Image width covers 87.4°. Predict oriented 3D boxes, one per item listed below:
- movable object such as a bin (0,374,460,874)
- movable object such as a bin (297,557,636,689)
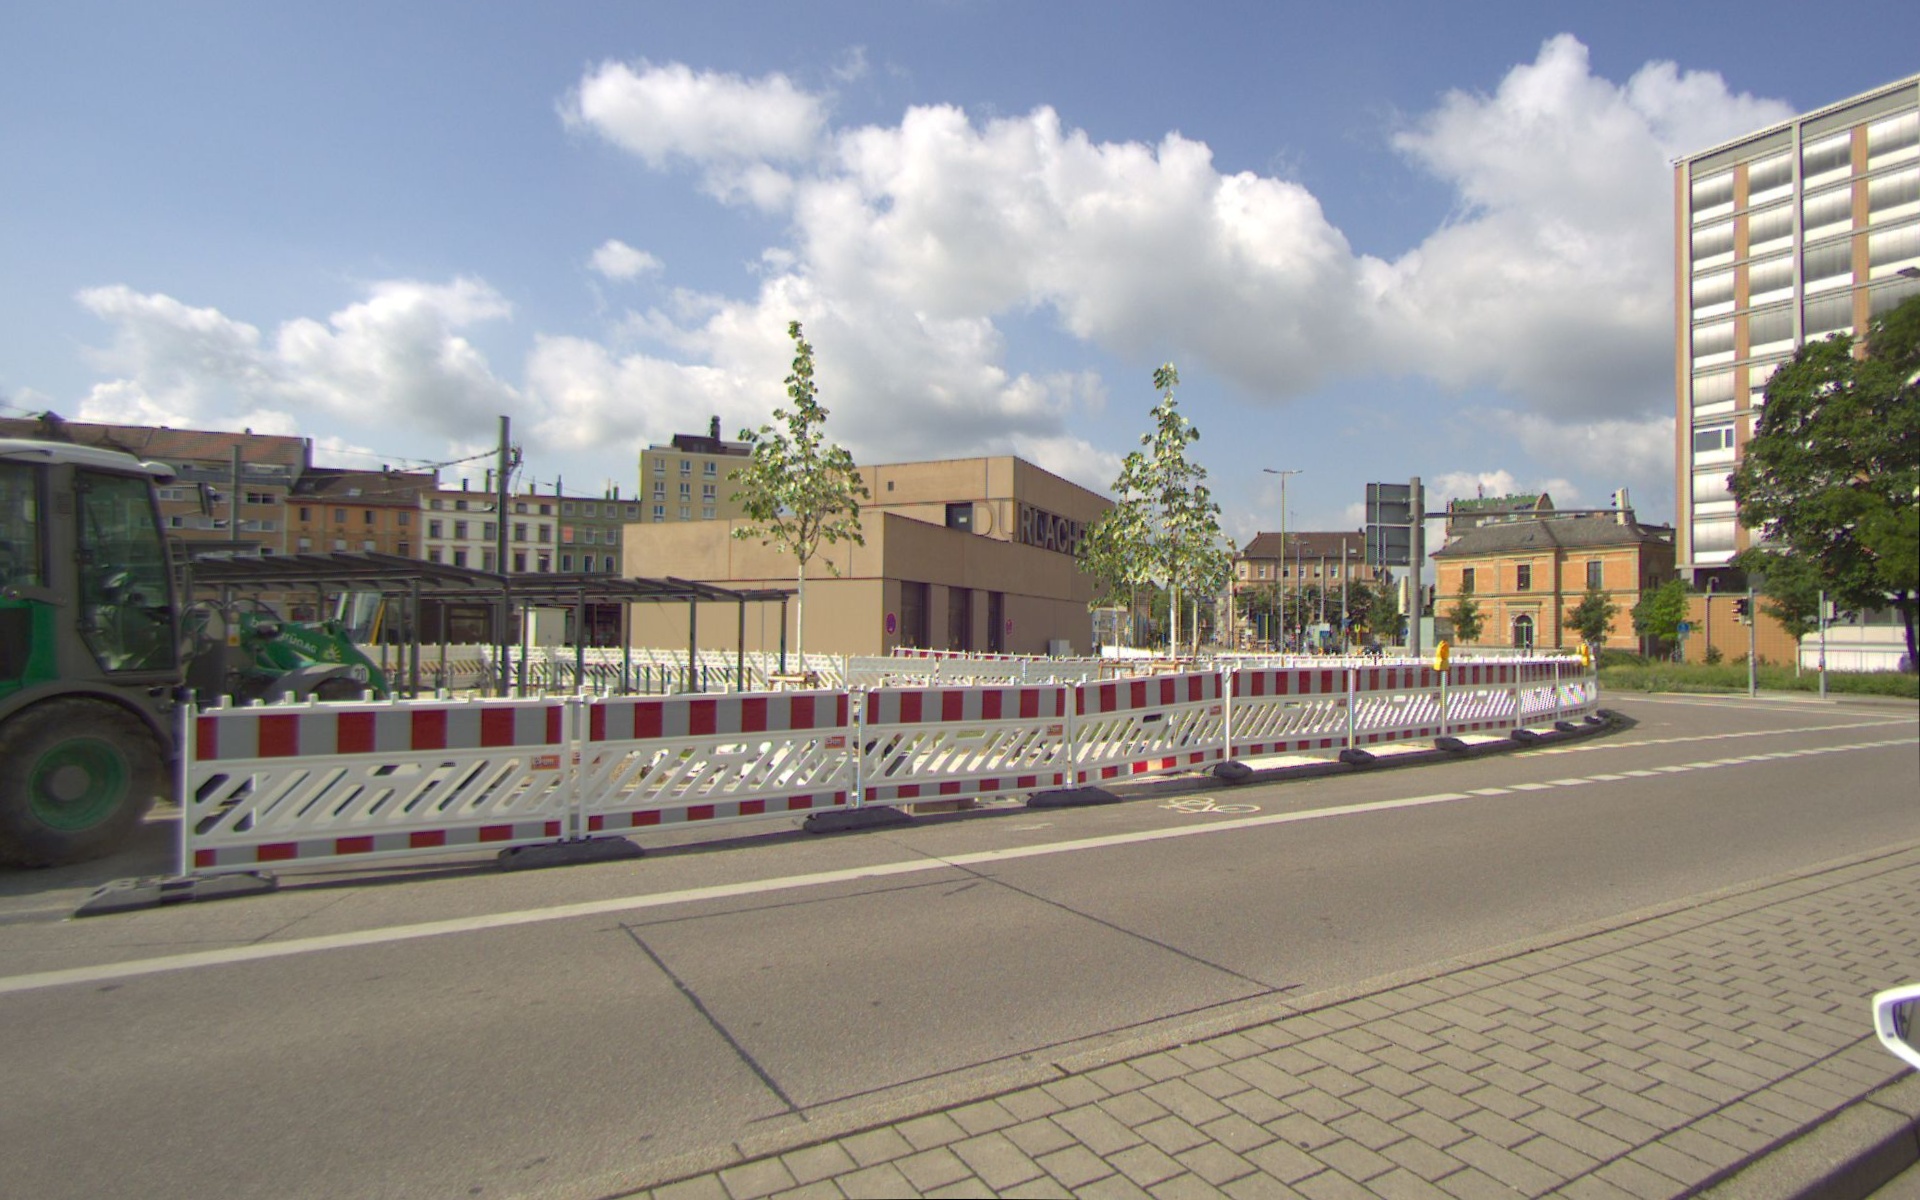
[{"bbox_3d":[-6.289,0.201,7.560,1.960,2.988,4.453,0,-2,17],"label":"movable object such as a bin"},{"bbox_3d":[-14.823,0.777,31.452,2.965,3.468,9.678,0,-2,26],"label":"movable object such as a bin"}]
